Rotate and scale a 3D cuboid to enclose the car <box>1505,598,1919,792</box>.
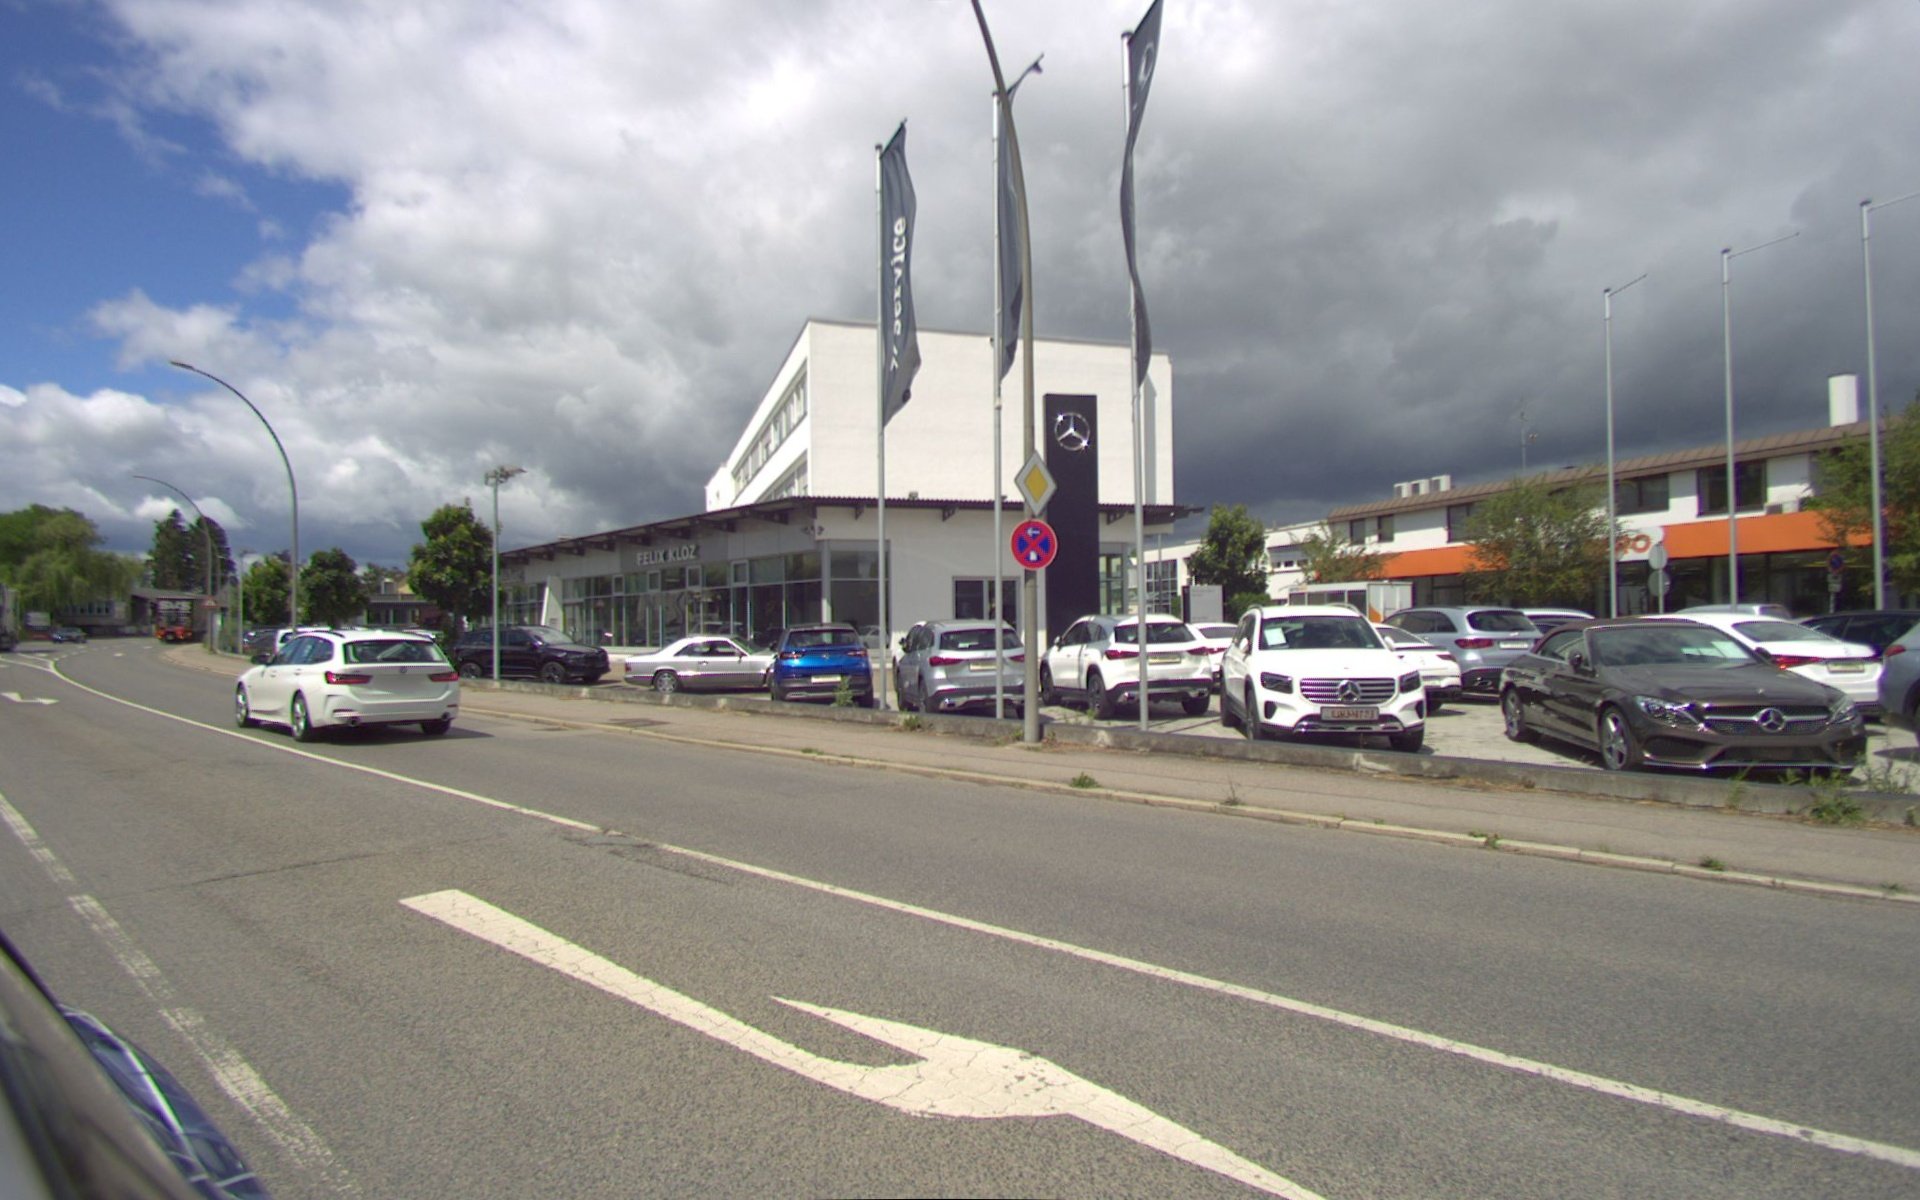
[{"bbox_3d":[7.158,0.809,10.118,1.778,1.477,4.312,-3,-2,12],"label":"car"}]

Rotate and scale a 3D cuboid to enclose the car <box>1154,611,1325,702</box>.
[{"bbox_3d":[5.629,1.130,20.944,1.774,1.637,3.963,-1,-2,-11],"label":"car"}]

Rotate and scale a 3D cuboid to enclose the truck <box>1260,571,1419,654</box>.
[{"bbox_3d":[17.065,0.623,46.193,2.405,3.449,7.844,0,-2,-17],"label":"truck"}]

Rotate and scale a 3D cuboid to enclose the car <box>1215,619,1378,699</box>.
[{"bbox_3d":[7.593,1.308,23.292,1.774,1.637,3.963,-1,-2,-11],"label":"car"}]

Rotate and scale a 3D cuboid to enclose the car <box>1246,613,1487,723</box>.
[{"bbox_3d":[6.413,1.019,16.653,1.840,1.478,4.562,-2,-1,-3],"label":"car"}]

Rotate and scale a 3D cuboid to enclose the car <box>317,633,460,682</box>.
[{"bbox_3d":[-21.641,2.169,38.493,4.433,1.637,1.808,-1,-3,-14],"label":"car"}]

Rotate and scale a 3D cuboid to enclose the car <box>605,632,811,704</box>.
[{"bbox_3d":[-6.085,1.630,24.773,4.536,1.400,1.803,-3,1,2],"label":"car"}]

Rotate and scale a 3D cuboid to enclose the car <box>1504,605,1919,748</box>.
[{"bbox_3d":[9.625,0.891,13.310,1.837,1.478,4.568,-2,-1,-10],"label":"car"}]

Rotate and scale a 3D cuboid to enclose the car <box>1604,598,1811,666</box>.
[{"bbox_3d":[22.241,0.956,30.371,1.801,1.860,4.689,0,-2,-21],"label":"car"}]

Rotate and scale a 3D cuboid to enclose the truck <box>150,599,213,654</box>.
[{"bbox_3d":[-69.003,2.351,89.857,2.931,4.697,8.204,0,-2,-27],"label":"truck"}]

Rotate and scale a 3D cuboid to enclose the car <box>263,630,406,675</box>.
[{"bbox_3d":[-26.812,2.238,43.528,4.878,1.852,1.897,0,-2,-10],"label":"car"}]

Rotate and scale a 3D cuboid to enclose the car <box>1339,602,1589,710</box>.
[{"bbox_3d":[8.850,0.951,18.286,1.839,1.629,4.440,-2,-1,-6],"label":"car"}]

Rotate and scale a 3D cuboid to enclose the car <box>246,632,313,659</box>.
[{"bbox_3d":[-40.512,2.704,60.250,3.214,1.586,1.585,2,-3,-38],"label":"car"}]

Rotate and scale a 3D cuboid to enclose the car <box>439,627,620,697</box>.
[{"bbox_3d":[-11.698,1.673,27.538,4.313,1.637,1.795,-2,1,16],"label":"car"}]

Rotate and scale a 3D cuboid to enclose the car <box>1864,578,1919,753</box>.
[{"bbox_3d":[9.996,0.537,7.517,1.958,1.617,4.748,-2,-1,-6],"label":"car"}]

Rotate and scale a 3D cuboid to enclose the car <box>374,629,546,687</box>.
[{"bbox_3d":[-15.842,1.823,32.307,4.559,1.637,2.067,-1,-2,-12],"label":"car"}]

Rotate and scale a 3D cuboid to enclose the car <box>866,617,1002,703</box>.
[{"bbox_3d":[-0.675,1.264,22.066,1.773,1.637,3.967,-1,-2,-19],"label":"car"}]

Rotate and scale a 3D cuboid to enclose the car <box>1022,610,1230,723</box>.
[{"bbox_3d":[2.602,1.054,17.102,1.843,1.578,4.532,-2,-2,-13],"label":"car"}]

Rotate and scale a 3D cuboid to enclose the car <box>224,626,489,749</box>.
[{"bbox_3d":[-8.645,1.134,14.336,4.425,1.461,1.972,-2,-3,42],"label":"car"}]

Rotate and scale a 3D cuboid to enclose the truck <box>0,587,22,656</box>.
[{"bbox_3d":[-55.831,1.245,57.322,2.859,3.797,9.656,1,-2,-36],"label":"truck"}]

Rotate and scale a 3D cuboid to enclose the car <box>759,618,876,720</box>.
[{"bbox_3d":[-2.907,1.249,19.838,1.863,1.681,4.582,-2,-1,-13],"label":"car"}]

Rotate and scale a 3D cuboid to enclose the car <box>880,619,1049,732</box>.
[{"bbox_3d":[-0.099,1.182,17.073,1.843,1.578,4.532,-2,-2,-13],"label":"car"}]

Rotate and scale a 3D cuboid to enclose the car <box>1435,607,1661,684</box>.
[{"bbox_3d":[13.182,1.024,22.934,3.954,1.641,1.842,-1,-2,9],"label":"car"}]

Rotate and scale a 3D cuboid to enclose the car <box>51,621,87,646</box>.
[{"bbox_3d":[-74.321,2.796,84.468,1.924,2.029,4.009,1,-2,-37],"label":"car"}]

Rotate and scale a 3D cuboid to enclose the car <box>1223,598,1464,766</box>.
[{"bbox_3d":[4.444,0.885,12.463,1.915,1.690,4.286,-1,-1,10],"label":"car"}]

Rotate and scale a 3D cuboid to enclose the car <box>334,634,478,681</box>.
[{"bbox_3d":[-18.674,1.936,34.282,3.892,1.506,1.807,0,-2,-7],"label":"car"}]
